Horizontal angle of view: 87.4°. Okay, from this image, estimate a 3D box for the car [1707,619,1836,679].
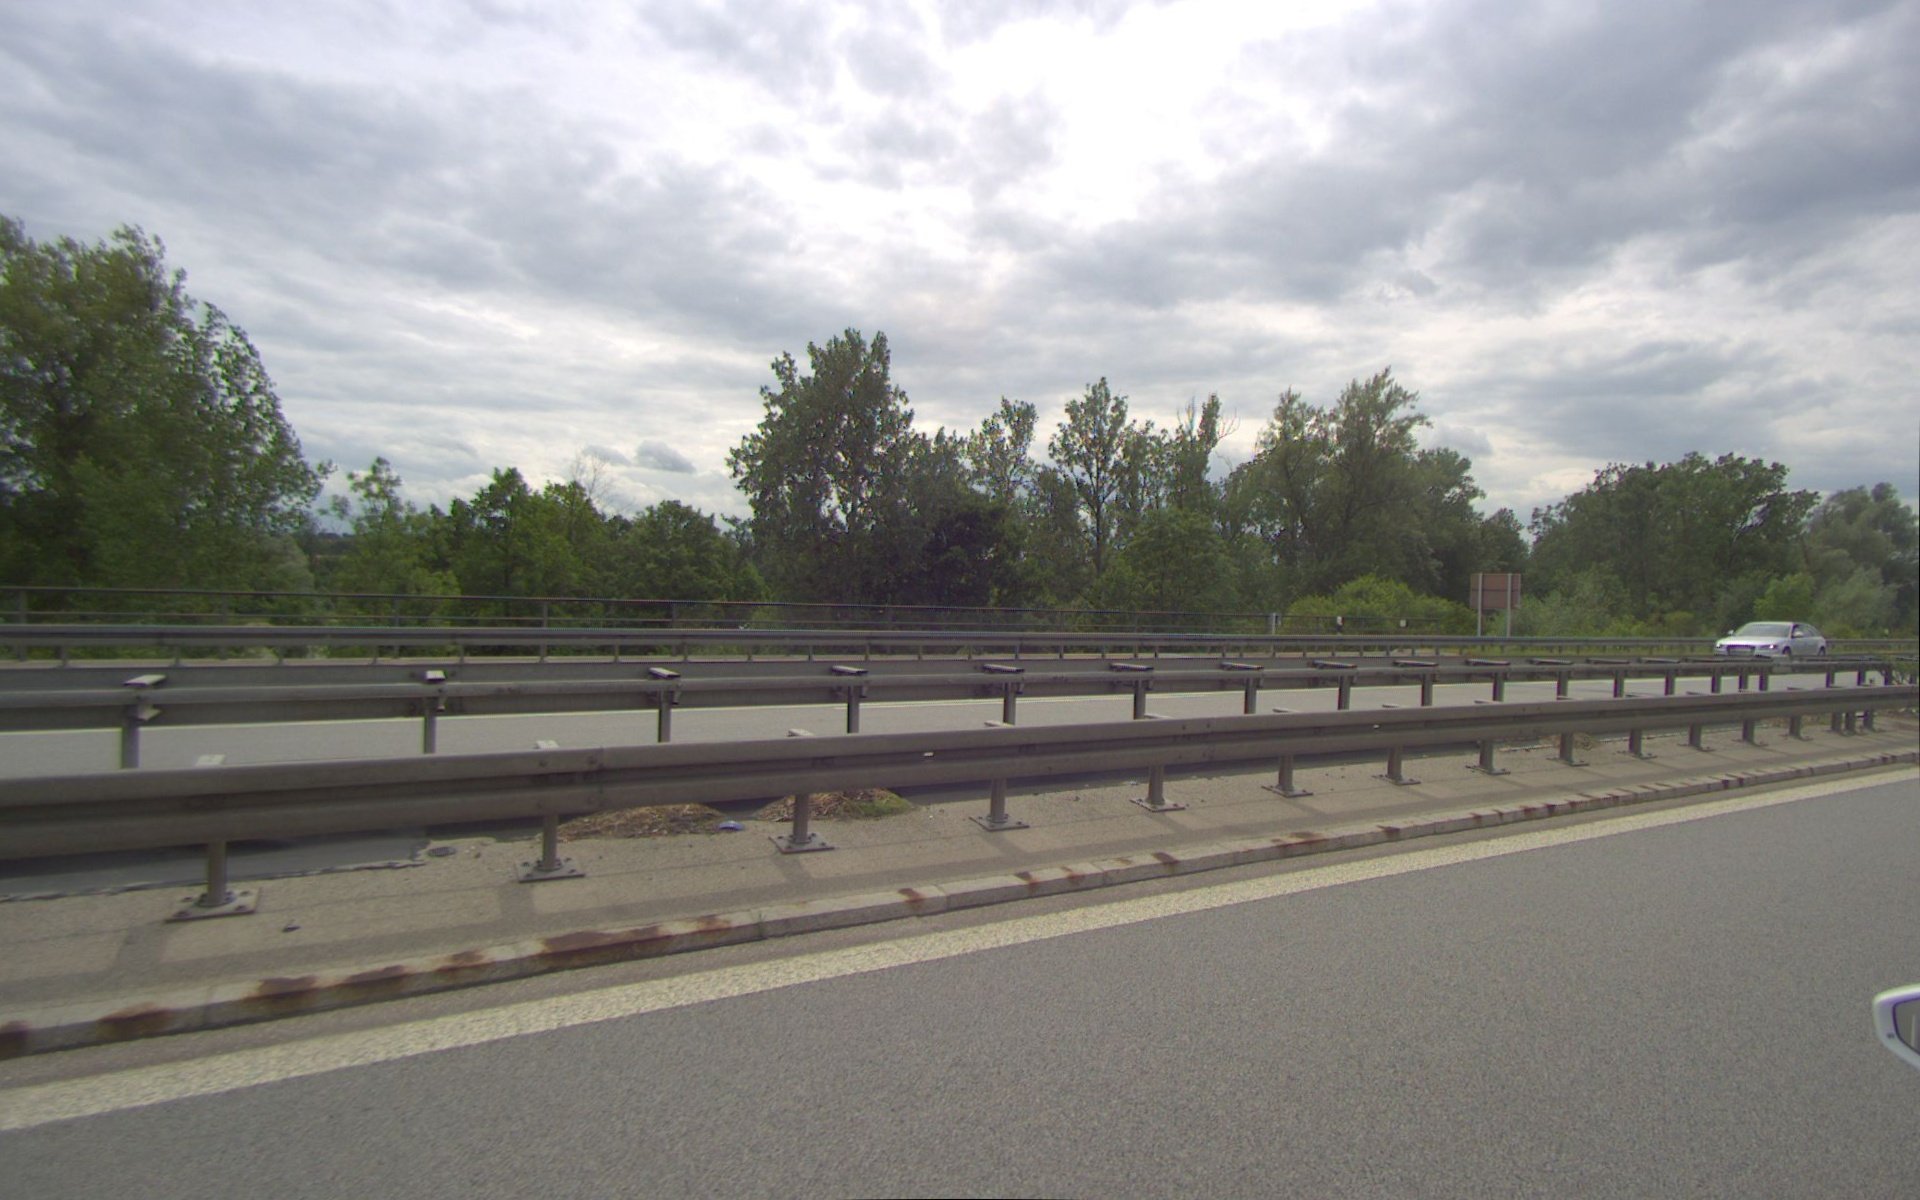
[{"bbox_3d":[25.659,1.510,31.706,4.925,1.738,1.634,1,0,-32],"label":"car"}]
